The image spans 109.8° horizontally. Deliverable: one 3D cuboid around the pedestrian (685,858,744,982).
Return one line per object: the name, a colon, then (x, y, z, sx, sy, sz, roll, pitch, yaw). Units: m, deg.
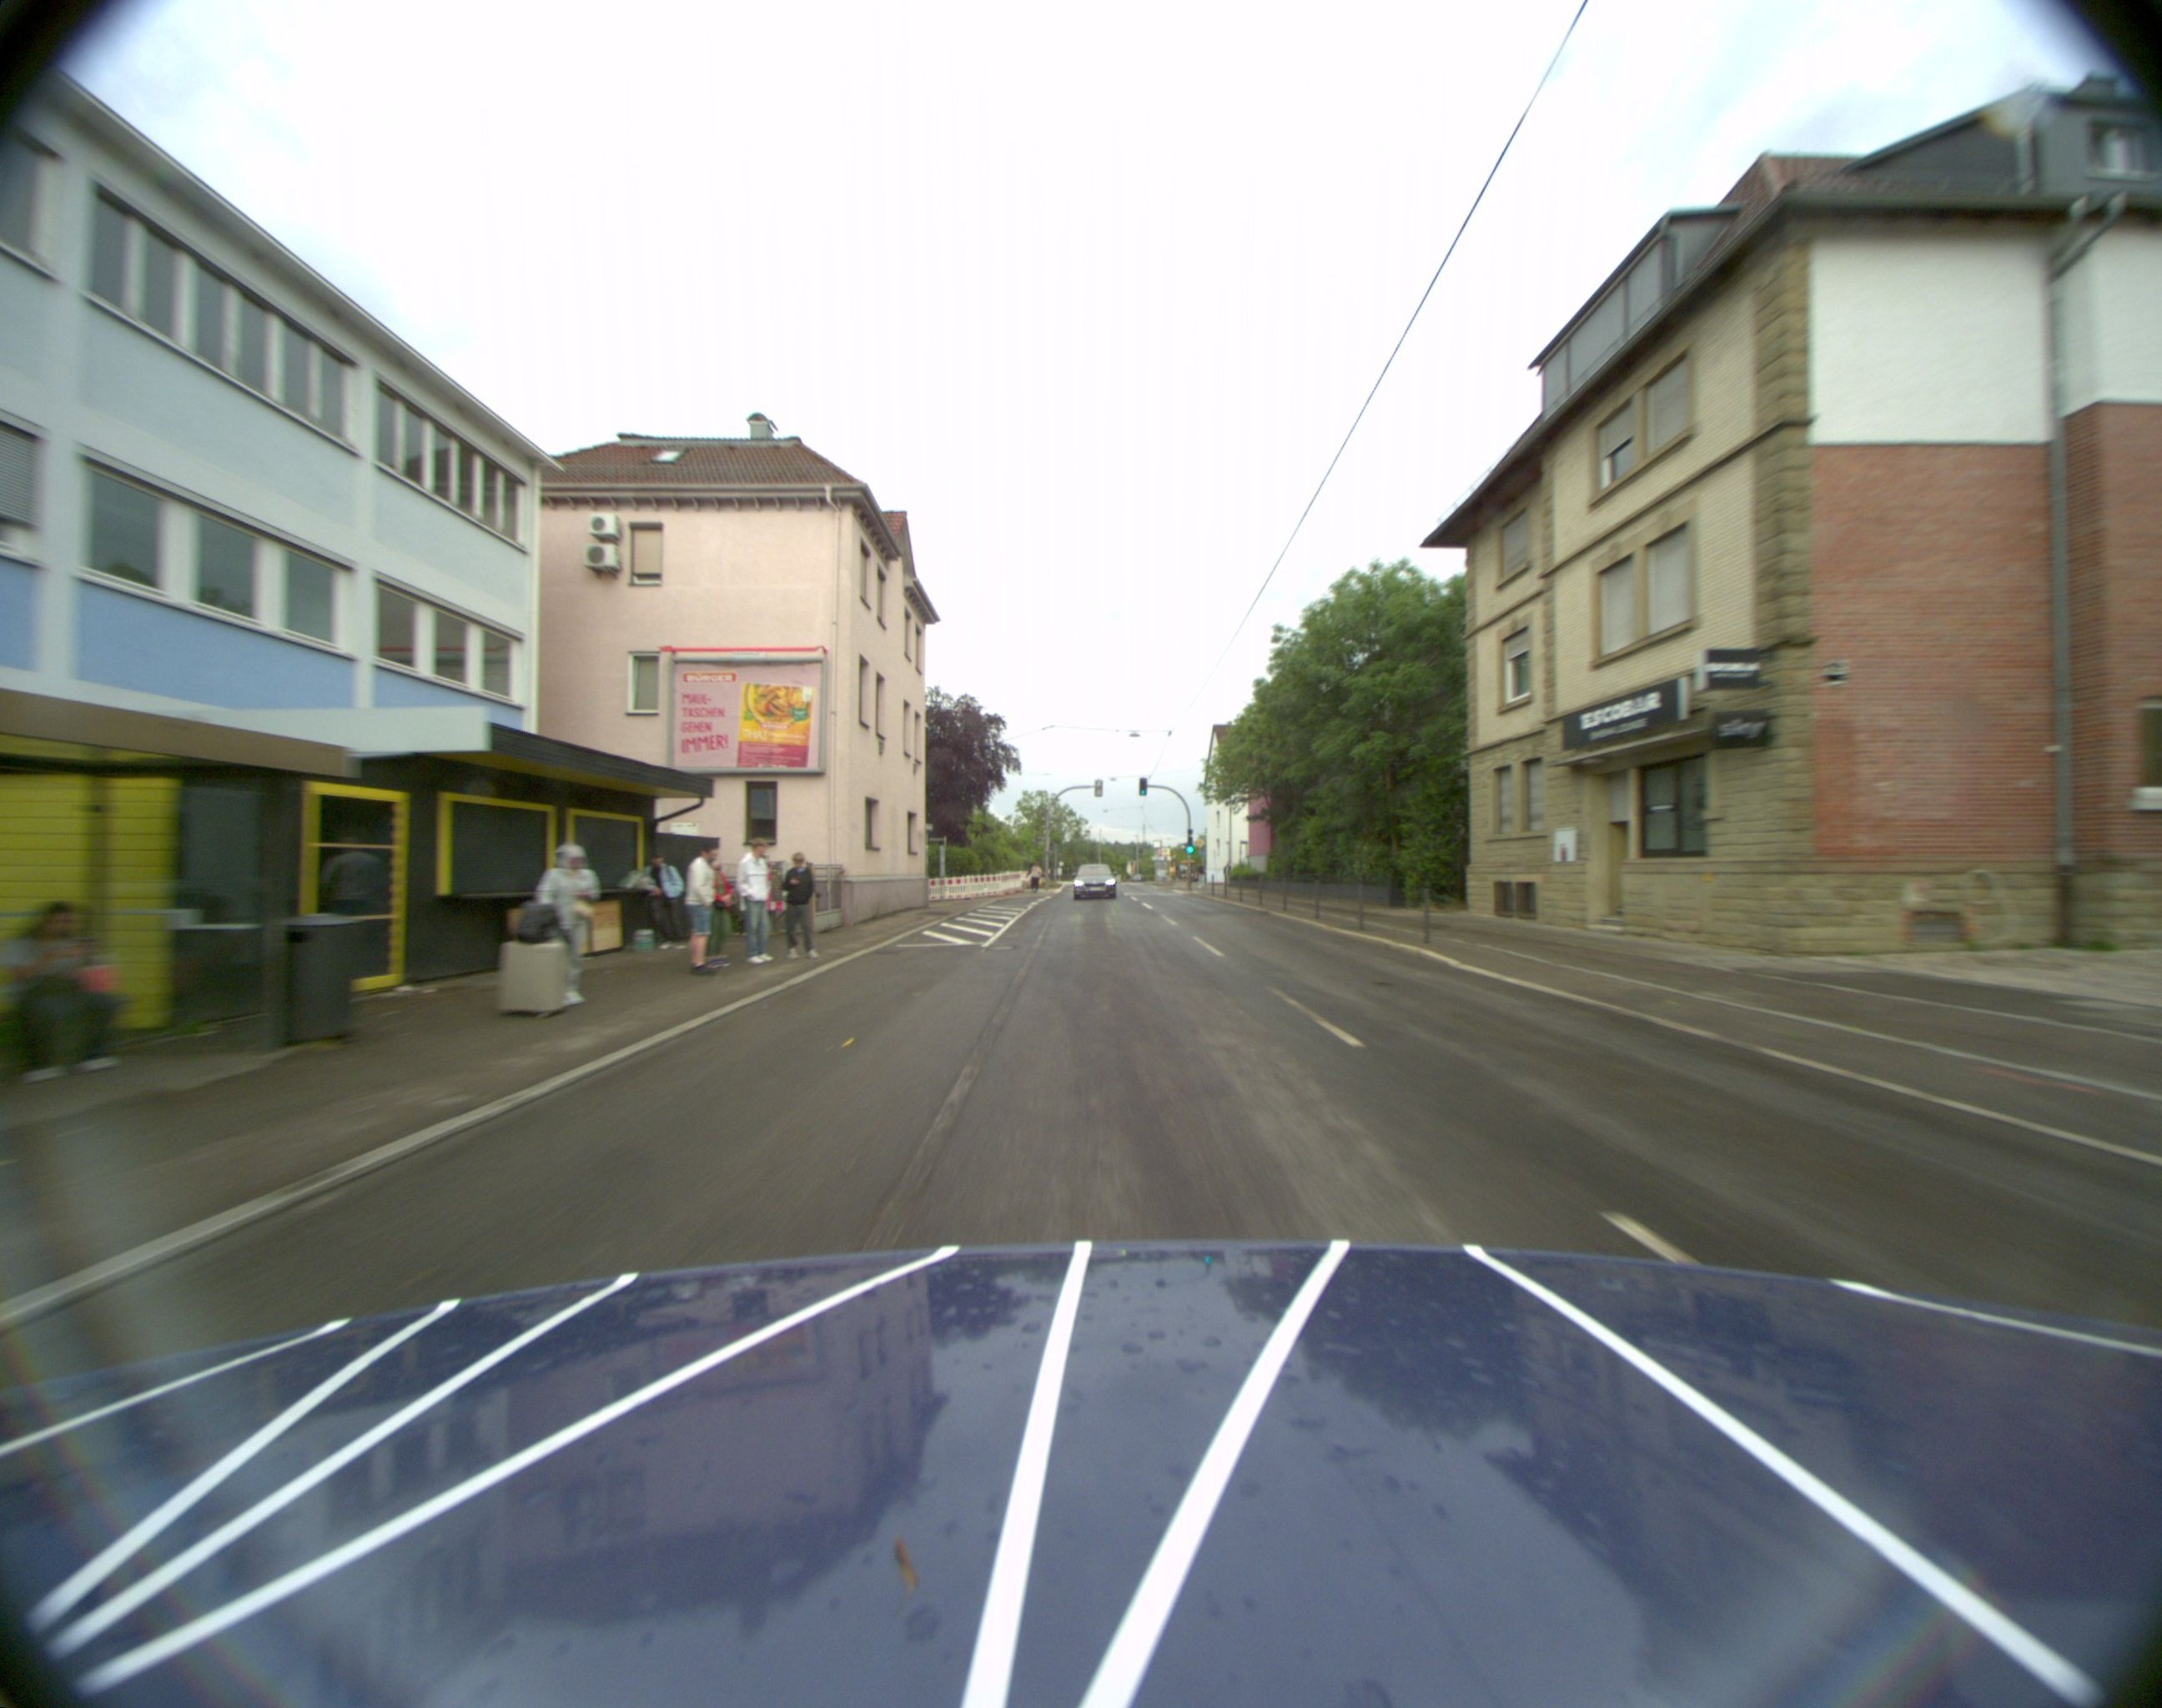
pedestrian: (-5.241, 0.921, 10.875, 0.446, 1.698, 0.558, 2, 0, 22)

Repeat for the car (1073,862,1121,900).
car: (0.673, 1.117, 31.668, 1.837, 1.429, 4.002, -1, -2, 2)

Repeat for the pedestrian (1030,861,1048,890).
pedestrian: (-2.289, 1.162, 41.475, 0.877, 1.551, 1.049, -2, 0, 3)

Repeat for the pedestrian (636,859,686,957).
pedestrian: (-7.183, 0.904, 13.015, 0.676, 1.616, 0.623, 2, 0, -28)

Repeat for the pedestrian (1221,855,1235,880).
pedestrian: (10.820, 1.027, 55.913, 0.808, 1.810, 1.116, -1, -2, 0)

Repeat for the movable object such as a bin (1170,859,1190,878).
movable object such as a bin: (16.573, 2.493, 127.202, 2.828, 3.093, 4.640, 0, -2, 13)

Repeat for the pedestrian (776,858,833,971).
pedestrian: (-4.394, 0.934, 12.065, 0.637, 1.700, 0.747, 2, 0, -33)

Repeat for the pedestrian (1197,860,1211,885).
pedestrian: (9.205, 1.400, 57.042, 0.864, 1.871, 1.044, 0, -1, -1)

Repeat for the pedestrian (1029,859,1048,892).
pedestrian: (-2.211, 1.106, 39.428, 0.785, 1.632, 1.222, -2, 0, 5)

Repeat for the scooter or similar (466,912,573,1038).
scooter or similar: (-5.418, 1.151, 7.360, 0.619, 1.133, 0.567, 1, 1, -4)

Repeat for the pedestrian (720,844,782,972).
pedestrian: (-4.987, 0.800, 11.503, 0.486, 1.864, 0.634, 2, 0, 28)

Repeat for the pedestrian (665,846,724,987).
pedestrian: (-5.174, 0.818, 10.195, 0.460, 1.830, 0.604, 2, 0, -4)

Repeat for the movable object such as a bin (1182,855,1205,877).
movable object such as a bin: (21.232, 2.326, 143.254, 2.951, 3.820, 8.141, -1, -2, 19)

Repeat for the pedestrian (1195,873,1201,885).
pedestrian: (15.521, 3.305, 100.761, 0.603, 1.519, 1.039, -2, -2, 16)

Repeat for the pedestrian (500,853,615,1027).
pedestrian: (-5.484, 0.863, 8.011, 0.662, 1.731, 0.829, 1, 0, -4)

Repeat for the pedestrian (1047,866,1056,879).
pedestrian: (-3.507, 2.219, 91.127, 0.922, 1.537, 0.543, 0, -1, -31)

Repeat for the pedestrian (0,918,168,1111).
pedestrian: (-7.160, 1.077, 5.310, 0.662, 1.192, 0.741, 1, 0, -4)
